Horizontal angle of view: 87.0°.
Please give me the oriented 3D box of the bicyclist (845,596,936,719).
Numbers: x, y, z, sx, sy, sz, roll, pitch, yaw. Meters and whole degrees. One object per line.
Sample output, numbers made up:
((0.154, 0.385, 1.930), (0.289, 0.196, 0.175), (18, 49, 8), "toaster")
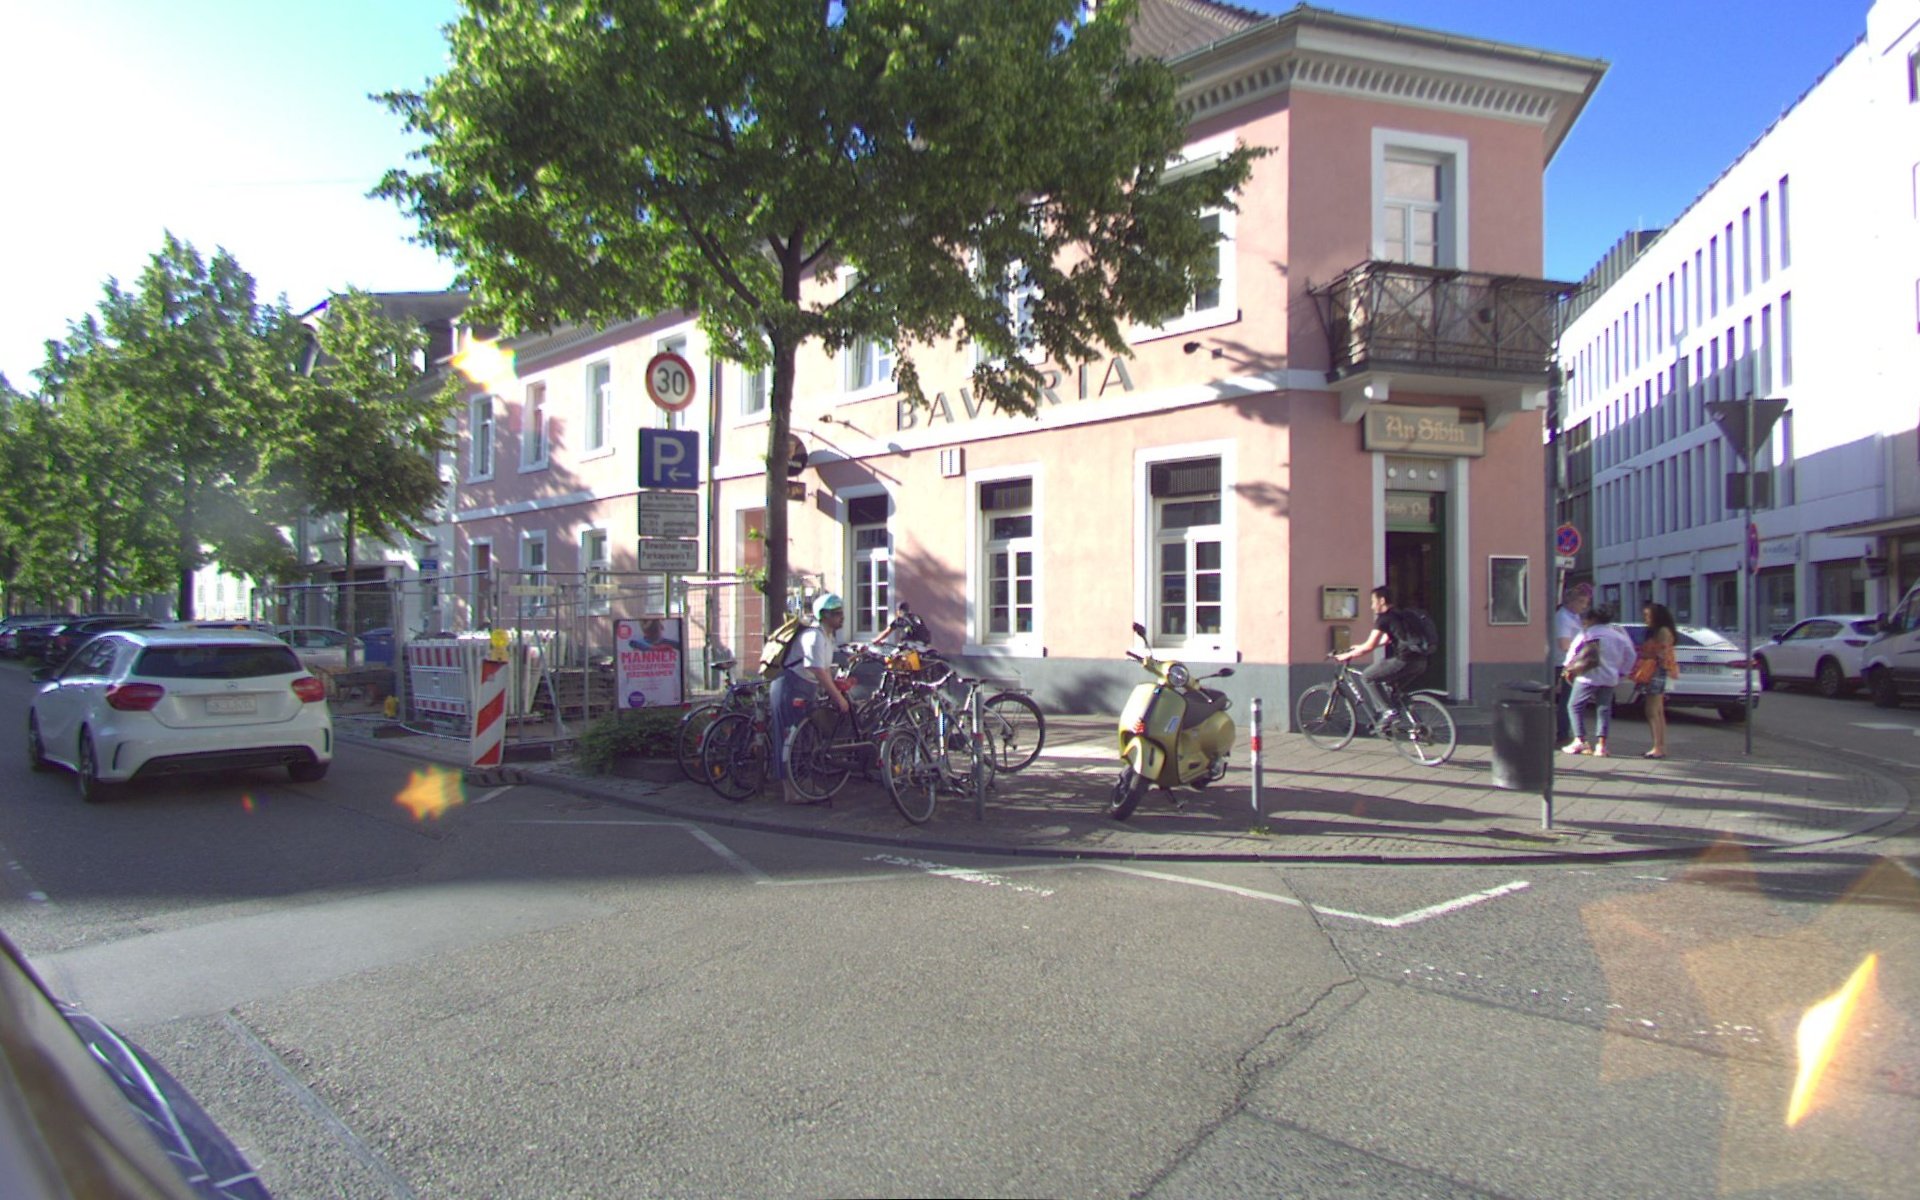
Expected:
((-0.946, 0.755, 13.658), (0.757, 1.572, 1.042), (1, -2, -39), "bicyclist")

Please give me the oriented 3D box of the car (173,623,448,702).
((-13.705, 1.242, 21.636), (1.805, 1.423, 4.636), (-1, -1, 38), "car")

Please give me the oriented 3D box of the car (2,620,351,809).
((-7.756, 0.928, 9.854), (4.406, 1.446, 1.784), (-1, -2, 40), "car")

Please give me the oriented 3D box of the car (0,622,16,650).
((-66.715, 2.440, 68.126), (1.912, 1.848, 4.302), (-1, -1, 35), "car")

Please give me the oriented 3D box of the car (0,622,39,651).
((-58.732, 2.188, 61.215), (1.915, 1.722, 4.294), (-1, -1, 41), "car")

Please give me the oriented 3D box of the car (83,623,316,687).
((-19.929, 1.381, 26.713), (1.805, 1.476, 4.636), (-1, -1, 38), "car")

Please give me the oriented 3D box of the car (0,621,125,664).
((-39.655, 1.824, 44.247), (1.808, 1.725, 4.630), (-1, -1, 42), "car")

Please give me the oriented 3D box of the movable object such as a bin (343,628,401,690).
((-11.672, 1.149, 20.097), (0.743, 1.195, 0.725), (-1, -2, 32), "movable object such as a bin")

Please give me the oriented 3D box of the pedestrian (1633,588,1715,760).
((7.643, 0.772, 10.861), (0.655, 1.774, 0.648), (-1, -2, 33), "pedestrian")

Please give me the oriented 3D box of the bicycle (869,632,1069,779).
((0.070, 0.945, 9.320), (1.767, 1.261, 0.600), (-1, -1, -2), "bicycle")

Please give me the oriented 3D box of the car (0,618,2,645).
((-70.784, 2.282, 71.435), (1.930, 1.941, 4.523), (-1, -1, 43), "car")

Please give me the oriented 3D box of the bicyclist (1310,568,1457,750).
((4.239, 0.556, 10.169), (0.710, 1.706, 1.159), (1, -1, -41), "bicyclist")

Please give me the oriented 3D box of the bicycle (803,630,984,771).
((-0.643, 0.956, 10.178), (1.764, 1.261, 0.601), (0, -1, -38), "bicycle")

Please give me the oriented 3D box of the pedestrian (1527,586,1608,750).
((6.807, 0.745, 11.367), (0.653, 1.774, 0.651), (-1, -2, 23), "pedestrian")

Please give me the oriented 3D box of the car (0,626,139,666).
((-37.530, 1.878, 42.428), (1.808, 1.531, 4.630), (-1, -1, 42), "car")

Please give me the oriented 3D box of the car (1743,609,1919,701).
((18.279, 1.076, 20.730), (1.980, 1.708, 3.983), (-1, -2, 13), "car")

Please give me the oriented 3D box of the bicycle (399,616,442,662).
((-15.183, 1.088, 28.471), (1.627, 1.255, 0.499), (-1, -3, 40), "bicycle")

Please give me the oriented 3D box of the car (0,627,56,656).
((-53.381, 2.313, 56.366), (1.917, 1.552, 4.416), (-1, -1, 44), "car")

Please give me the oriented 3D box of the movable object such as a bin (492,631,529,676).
((-10.938, 1.290, 24.621), (0.544, 1.068, 0.625), (-1, -3, 42), "movable object such as a bin")

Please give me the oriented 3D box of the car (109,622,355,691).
((-17.853, 1.312, 25.044), (1.805, 1.476, 4.636), (-1, -1, 38), "car")

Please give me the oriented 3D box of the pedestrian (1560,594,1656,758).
((6.915, 0.789, 10.804), (0.646, 1.680, 0.657), (1, -2, -39), "pedestrian")

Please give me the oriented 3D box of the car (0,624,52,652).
((-55.392, 2.203, 58.254), (1.915, 1.552, 4.421), (-1, -1, 40), "car")

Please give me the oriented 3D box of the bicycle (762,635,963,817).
((-0.736, 0.942, 8.243), (0.598, 1.261, 1.839), (-1, -1, 33), "bicycle")

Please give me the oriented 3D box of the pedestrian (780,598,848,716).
((-2.133, 0.823, 14.794), (0.813, 1.665, 0.604), (-1, -2, 44), "pedestrian")

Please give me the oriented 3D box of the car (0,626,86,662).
((-48.148, 2.245, 52.233), (1.916, 1.785, 4.418), (-1, -1, 42), "car")

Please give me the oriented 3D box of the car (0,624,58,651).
((-56.705, 2.233, 60.220), (1.808, 1.594, 4.294), (-1, -1, 41), "car")

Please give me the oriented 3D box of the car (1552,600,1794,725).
((11.055, 0.922, 16.067), (1.983, 1.708, 3.976), (-1, -2, 18), "car")

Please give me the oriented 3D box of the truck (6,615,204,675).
((-29.888, 1.535, 35.530), (1.999, 1.953, 5.033), (-1, -2, 40), "truck")

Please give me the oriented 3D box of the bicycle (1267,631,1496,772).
((4.195, 0.957, 10.218), (0.710, 1.229, 2.039), (1, -1, -41), "bicycle")

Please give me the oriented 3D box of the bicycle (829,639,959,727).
((-0.918, 1.075, 13.652), (0.757, 1.067, 1.959), (1, -2, -39), "bicycle")

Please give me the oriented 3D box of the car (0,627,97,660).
((-43.505, 2.013, 47.337), (1.683, 1.470, 4.598), (-1, -1, 41), "car")

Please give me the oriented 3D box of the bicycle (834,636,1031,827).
((-0.156, 0.945, 7.935), (0.598, 1.261, 1.839), (-1, -1, 33), "bicycle")

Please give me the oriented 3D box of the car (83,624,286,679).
((-23.376, 1.492, 30.648), (1.808, 1.474, 4.630), (-1, -1, 42), "car")

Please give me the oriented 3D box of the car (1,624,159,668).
((-35.338, 1.791, 40.726), (1.808, 1.584, 4.630), (-1, -1, 42), "car")

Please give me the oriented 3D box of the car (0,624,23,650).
((-60.926, 2.305, 62.473), (1.916, 1.552, 4.417), (-1, -1, 43), "car")

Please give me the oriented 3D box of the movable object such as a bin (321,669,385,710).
((-10.303, 1.507, 17.182), (1.077, 0.621, 0.621), (-1, -3, 41), "movable object such as a bin")

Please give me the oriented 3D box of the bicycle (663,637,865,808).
((-1.634, 0.980, 8.751), (0.598, 1.261, 1.839), (-1, -1, 33), "bicycle")

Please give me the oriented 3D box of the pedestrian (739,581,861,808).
((-1.267, 0.728, 8.149), (0.758, 1.720, 0.792), (-1, -1, 8), "pedestrian")

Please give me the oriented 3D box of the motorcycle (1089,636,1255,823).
((1.717, 0.928, 7.975), (0.754, 1.238, 1.840), (-1, -1, 29), "motorcycle")

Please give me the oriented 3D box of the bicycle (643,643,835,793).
((-1.991, 1.024, 9.367), (0.598, 1.179, 1.839), (-1, -1, 33), "bicycle")

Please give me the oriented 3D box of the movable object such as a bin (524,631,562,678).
((-9.668, 1.262, 23.483), (0.544, 1.068, 0.625), (-1, -3, 42), "movable object such as a bin")

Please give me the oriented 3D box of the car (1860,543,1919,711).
((16.665, 0.385, 14.559), (2.882, 2.739, 6.466), (-1, -2, 15), "car")

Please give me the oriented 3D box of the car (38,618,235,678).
((-25.847, 1.455, 31.901), (1.808, 1.706, 4.630), (-1, -1, 42), "car")

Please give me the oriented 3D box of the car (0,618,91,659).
((-46.064, 1.866, 49.959), (1.916, 1.965, 4.630), (-1, -1, 42), "car")
